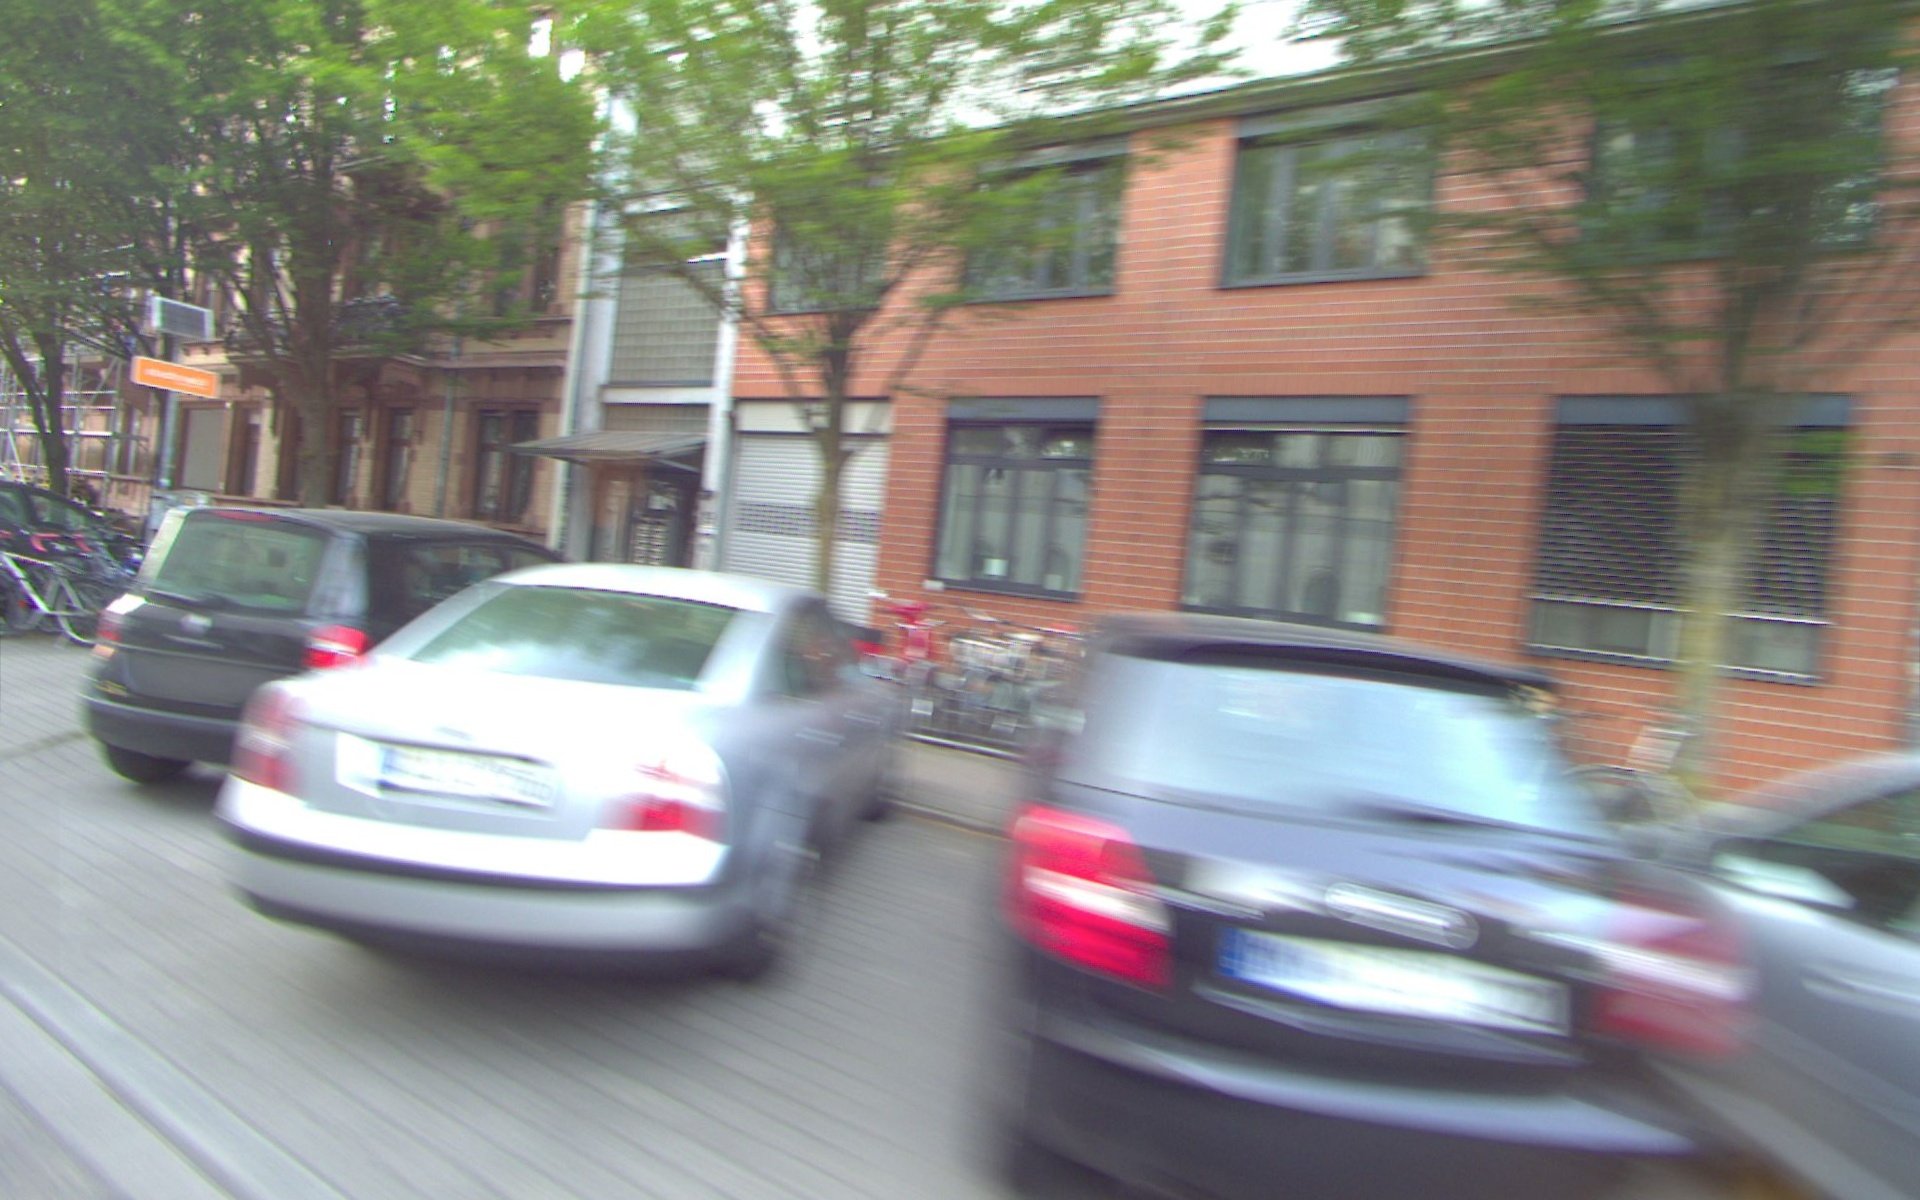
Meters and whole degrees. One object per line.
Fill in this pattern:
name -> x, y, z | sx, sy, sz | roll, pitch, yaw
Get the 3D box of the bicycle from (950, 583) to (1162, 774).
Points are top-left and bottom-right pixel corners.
bicycle -> 0.936, 0.682, 8.814 | 0.589, 1.396, 2.536 | 7, 0, 33

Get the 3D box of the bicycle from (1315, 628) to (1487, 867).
bicycle -> 3.291, 0.993, 7.336 | 0.589, 1.396, 2.536 | 7, 0, 33

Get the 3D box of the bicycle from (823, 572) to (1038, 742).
bicycle -> -0.191, 0.569, 9.692 | 0.589, 1.396, 2.536 | 7, 0, 33

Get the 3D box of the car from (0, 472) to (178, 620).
car -> -10.767, -0.662, 10.932 | 1.742, 1.493, 3.405 | 7, 1, 0

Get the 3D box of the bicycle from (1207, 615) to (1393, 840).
bicycle -> 2.681, 0.918, 7.690 | 0.589, 1.396, 2.536 | 7, 0, 33

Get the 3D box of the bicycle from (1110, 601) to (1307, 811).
bicycle -> 2.091, 0.821, 8.114 | 0.589, 1.396, 2.536 | 7, 0, 33

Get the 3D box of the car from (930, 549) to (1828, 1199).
car -> 0.863, 0.786, 3.722 | 1.533, 1.553, 3.606 | 7, 0, 3

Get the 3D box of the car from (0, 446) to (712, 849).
car -> -3.395, 0.221, 6.620 | 1.725, 1.657, 4.000 | 7, 1, 12

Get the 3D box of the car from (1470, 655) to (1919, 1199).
car -> 2.874, 1.052, 2.216 | 1.690, 1.500, 3.606 | 7, 0, 4

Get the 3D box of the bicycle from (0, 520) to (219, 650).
bicycle -> -8.791, -0.149, 10.369 | 1.823, 1.121, 0.559 | 6, 0, 2

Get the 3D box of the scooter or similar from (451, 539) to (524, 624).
scooter or similar -> -7.621, -0.310, 16.194 | 1.751, 1.235, 0.410 | 7, 5, 43

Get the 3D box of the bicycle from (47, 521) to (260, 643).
bicycle -> -8.792, -0.185, 11.001 | 1.823, 1.121, 0.559 | 6, 0, 2

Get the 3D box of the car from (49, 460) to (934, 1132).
car -> -1.342, 0.532, 4.857 | 1.773, 1.553, 4.388 | 7, 0, 5

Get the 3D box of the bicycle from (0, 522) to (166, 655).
bicycle -> -8.838, -0.140, 9.651 | 1.823, 1.121, 0.694 | 6, 0, 2

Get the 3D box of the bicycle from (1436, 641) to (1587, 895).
bicycle -> 3.900, 1.067, 6.993 | 0.589, 1.396, 2.536 | 7, 0, 33

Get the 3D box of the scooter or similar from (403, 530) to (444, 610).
scooter or similar -> -8.978, -0.525, 16.816 | 0.366, 1.234, 1.687 | 3, 3, -34

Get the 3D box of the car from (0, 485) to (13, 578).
car -> -15.768, -1.137, 13.915 | 1.731, 1.455, 3.833 | 7, 1, -3

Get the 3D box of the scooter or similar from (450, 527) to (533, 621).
scooter or similar -> -6.824, -0.407, 14.628 | 1.751, 1.236, 0.465 | 7, 8, 43

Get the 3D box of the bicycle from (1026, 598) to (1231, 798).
bicycle -> 1.507, 0.800, 8.478 | 0.589, 1.396, 2.536 | 7, 0, 33

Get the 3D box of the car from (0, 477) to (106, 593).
car -> -13.740, -0.969, 13.053 | 1.729, 1.550, 3.837 | 6, 1, 6

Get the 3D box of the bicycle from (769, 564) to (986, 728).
bicycle -> -0.726, 0.492, 10.021 | 0.589, 1.396, 2.536 | 7, 0, 33

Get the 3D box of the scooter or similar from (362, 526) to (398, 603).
scooter or similar -> -10.030, -0.626, 17.374 | 0.366, 1.234, 1.604 | 3, 3, -34

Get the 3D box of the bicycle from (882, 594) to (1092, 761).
bicycle -> 0.336, 0.614, 9.240 | 0.589, 1.263, 2.531 | 7, 5, 33

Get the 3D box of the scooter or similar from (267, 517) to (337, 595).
scooter or similar -> -11.709, -0.801, 17.901 | 1.328, 1.261, 0.511 | 7, 7, 30

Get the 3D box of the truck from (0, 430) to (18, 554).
truck -> -26.039, -2.978, 22.797 | 2.228, 3.010, 6.329 | 4, -3, 32
